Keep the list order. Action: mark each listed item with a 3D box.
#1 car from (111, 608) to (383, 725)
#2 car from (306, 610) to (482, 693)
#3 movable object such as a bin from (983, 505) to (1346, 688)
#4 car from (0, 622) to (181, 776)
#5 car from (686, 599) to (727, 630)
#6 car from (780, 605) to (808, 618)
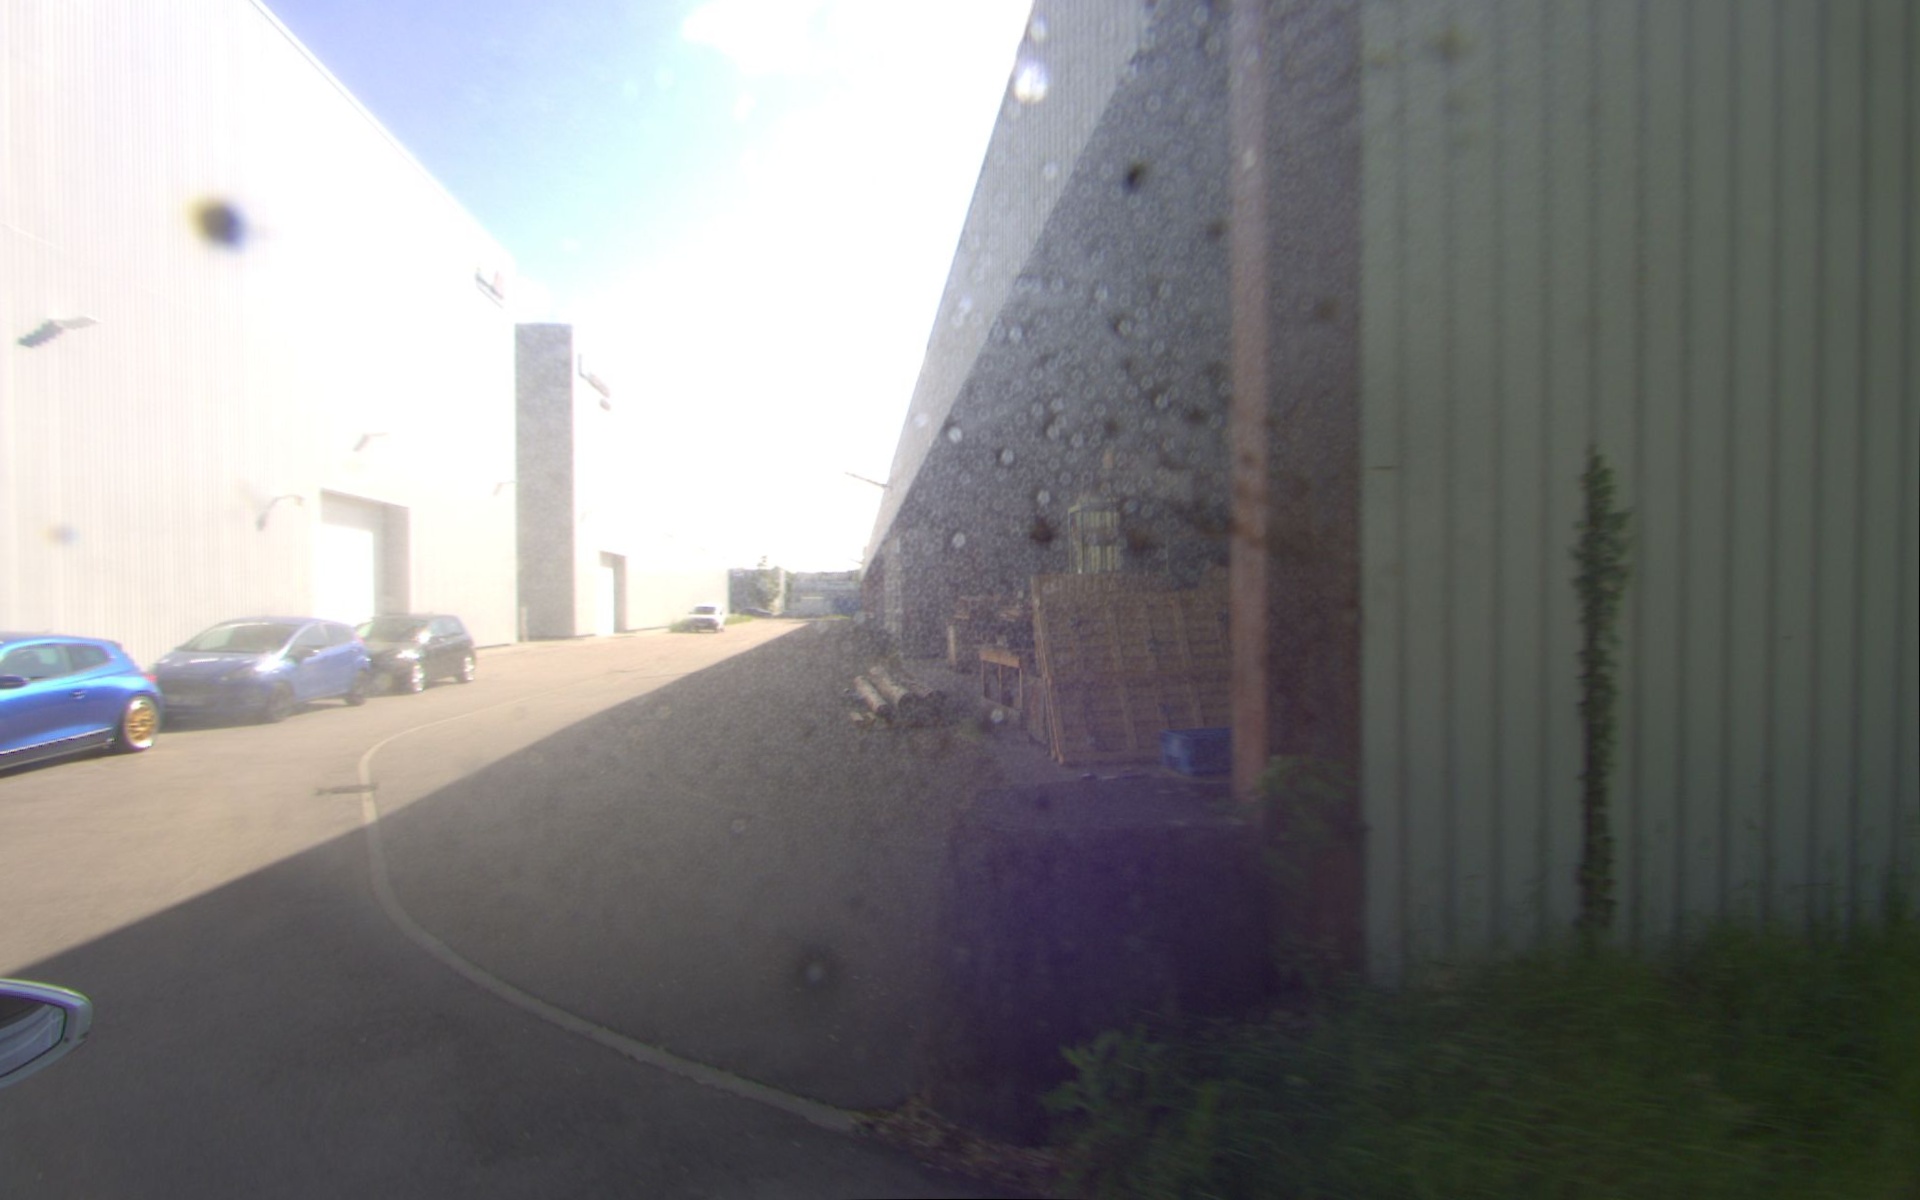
[{"bbox_3d":[-10.571,0.903,15.238,1.722,1.492,3.896,2,-1,-8],"label":"car"},{"bbox_3d":[-11.176,0.962,20.093,1.722,1.436,3.896,2,-1,-8],"label":"car"},{"bbox_3d":[3.472,-0.070,17.826,5.855,2.991,2.495,0,1,-6],"label":"movable object such as a bin"},{"bbox_3d":[-9.841,0.937,9.730,1.722,1.402,4.167,0,-1,-8],"label":"car"},{"bbox_3d":[-15.827,0.887,62.678,1.678,1.779,4.298,2,-1,-4],"label":"car"},{"bbox_3d":[-23.806,1.615,143.749,4.020,1.799,1.899,0,1,-8],"label":"car"}]
